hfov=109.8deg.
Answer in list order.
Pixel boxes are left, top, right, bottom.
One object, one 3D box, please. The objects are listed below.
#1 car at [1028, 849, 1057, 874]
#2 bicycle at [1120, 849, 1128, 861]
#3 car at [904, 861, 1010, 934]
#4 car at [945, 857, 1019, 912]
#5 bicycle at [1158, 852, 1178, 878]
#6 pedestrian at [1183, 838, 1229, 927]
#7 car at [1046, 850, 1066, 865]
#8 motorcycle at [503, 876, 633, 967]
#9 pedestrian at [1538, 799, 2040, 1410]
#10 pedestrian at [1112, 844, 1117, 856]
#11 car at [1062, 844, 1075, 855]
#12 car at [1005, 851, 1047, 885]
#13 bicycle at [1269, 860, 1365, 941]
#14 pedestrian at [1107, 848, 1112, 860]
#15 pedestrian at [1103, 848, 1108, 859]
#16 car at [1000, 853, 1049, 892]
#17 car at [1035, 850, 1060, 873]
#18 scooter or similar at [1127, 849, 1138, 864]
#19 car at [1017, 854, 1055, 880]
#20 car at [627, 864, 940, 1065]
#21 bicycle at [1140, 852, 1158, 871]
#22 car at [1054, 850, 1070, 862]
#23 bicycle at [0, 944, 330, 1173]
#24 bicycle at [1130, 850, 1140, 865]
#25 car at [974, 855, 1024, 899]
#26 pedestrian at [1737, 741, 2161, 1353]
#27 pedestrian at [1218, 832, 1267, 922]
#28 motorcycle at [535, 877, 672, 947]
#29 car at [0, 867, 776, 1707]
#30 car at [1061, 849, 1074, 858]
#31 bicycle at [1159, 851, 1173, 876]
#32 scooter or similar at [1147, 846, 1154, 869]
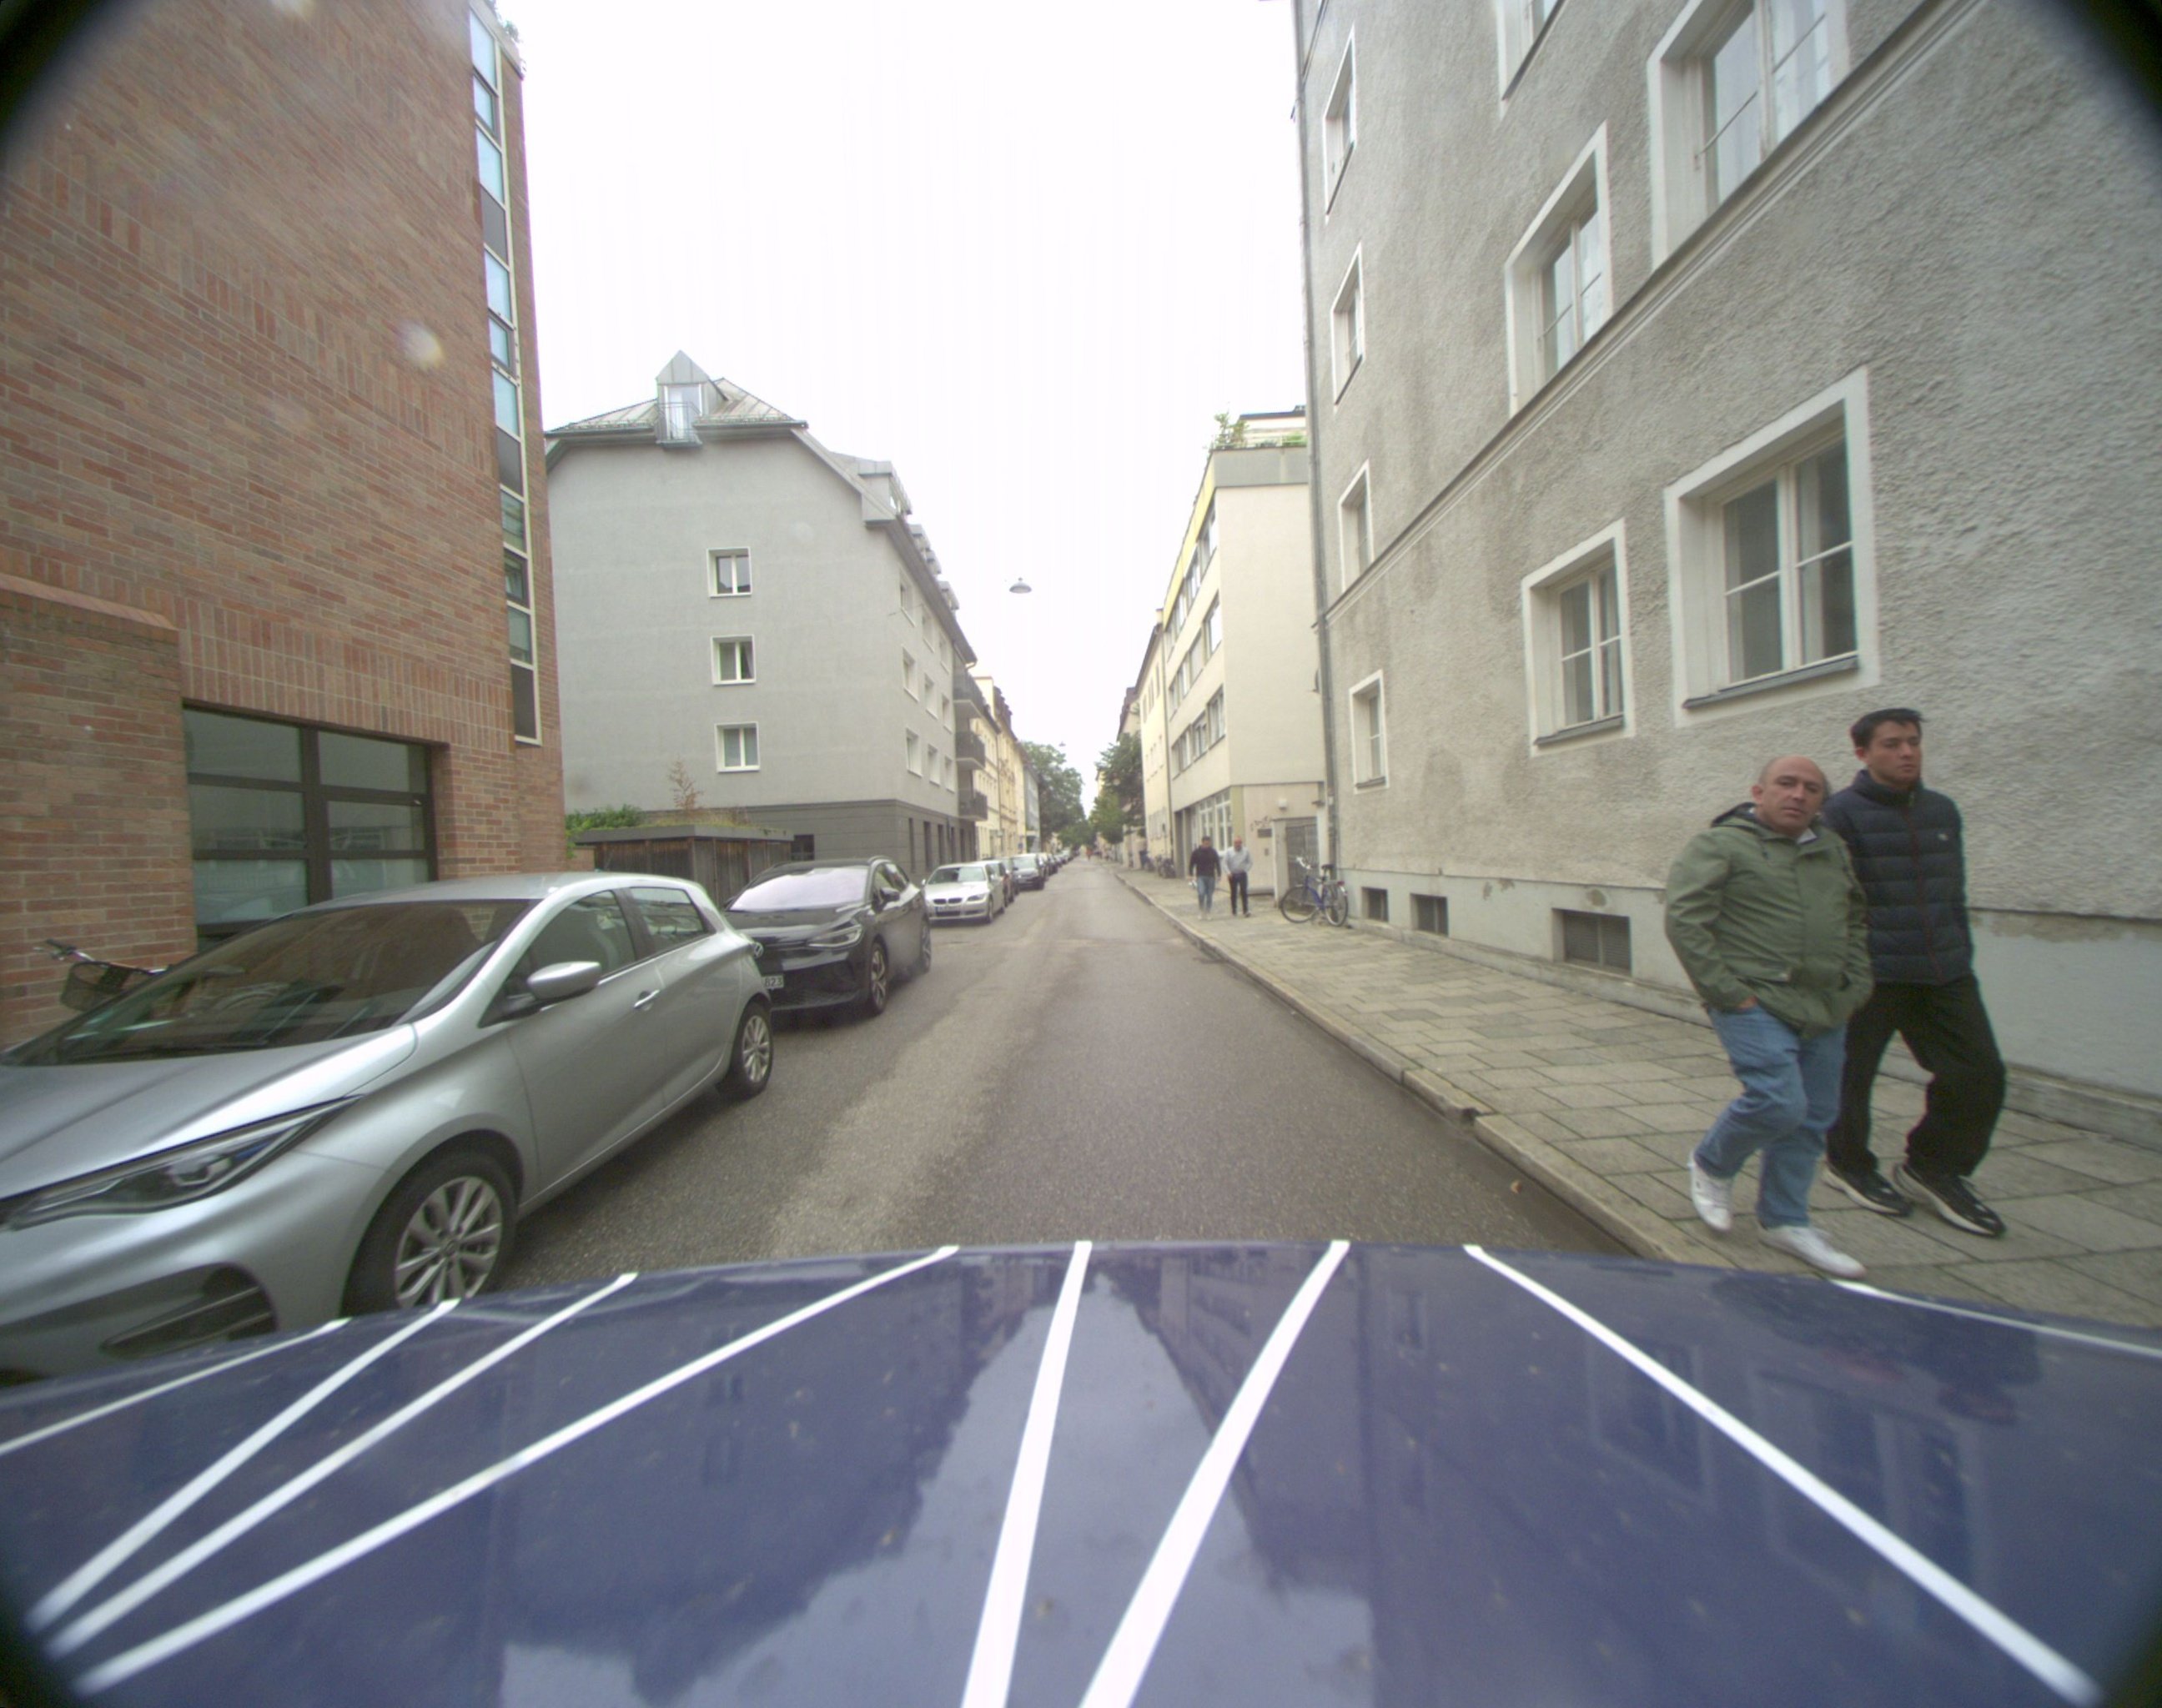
[{"bbox_3d":[-2.657,0.494,53.279,1.680,1.651,4.512,-3,0,0],"label":"car"},{"bbox_3d":[4.183,0.124,74.352,0.539,1.132,1.916,-4,1,0],"label":"bicycle"},{"bbox_3d":[-2.930,0.975,18.942,1.841,1.409,4.600,-3,1,-1],"label":"car"},{"bbox_3d":[-3.015,0.889,23.955,1.750,1.453,4.149,-3,1,-1],"label":"car"},{"bbox_3d":[4.084,0.508,35.789,0.563,1.153,1.720,-3,1,-5],"label":"bicycle"},{"bbox_3d":[2.583,0.573,15.796,0.720,1.755,0.838,-4,1,1],"label":"pedestrian"},{"bbox_3d":[-2.578,0.371,79.954,1.830,1.327,4.508,-6,0,0],"label":"car"},{"bbox_3d":[-8.664,1.090,12.945,0.541,1.337,1.942,-1,1,12],"label":"motorcycle"},{"bbox_3d":[2.235,0.695,2.552,0.755,1.649,0.906,-5,1,1],"label":"pedestrian"},{"bbox_3d":[4.592,-0.521,104.598,0.615,1.612,0.687,-5,1,1],"label":"pedestrian"},{"bbox_3d":[-2.126,-0.802,131.962,1.998,1.677,4.510,-2,1,1],"label":"car"},{"bbox_3d":[-2.720,0.643,38.588,1.880,1.561,4.315,-1,1,-1],"label":"car"},{"bbox_3d":[3.871,0.723,12.614,0.644,1.210,1.662,-2,1,-18],"label":"bicycle"},{"bbox_3d":[3.940,-0.008,104.535,0.624,1.570,0.714,-4,1,0],"label":"pedestrian"},{"bbox_3d":[4.075,-0.087,127.260,0.766,1.742,0.970,-2,1,0],"label":"pedestrian"},{"bbox_3d":[-2.451,0.768,33.928,1.844,1.520,4.292,-3,1,-1],"label":"car"},{"bbox_3d":[-2.563,0.568,59.052,1.706,1.598,4.684,-3,0,0],"label":"car"},{"bbox_3d":[4.256,0.222,62.775,0.553,1.137,1.359,-5,1,17],"label":"scooter or similar"},{"bbox_3d":[-2.552,0.710,43.798,1.812,1.355,3.945,-2,1,1],"label":"car"},{"bbox_3d":[-2.962,0.982,8.754,1.890,1.546,4.390,-3,1,-2],"label":"car"},{"bbox_3d":[4.100,0.437,45.647,0.705,0.978,1.822,-7,1,-4],"label":"bicycle"},{"bbox_3d":[-2.385,0.236,97.341,1.846,1.420,4.263,-6,0,-1],"label":"car"},{"bbox_3d":[-5.962,1.233,4.966,0.561,1.073,1.471,-3,1,1],"label":"bicycle"},{"bbox_3d":[4.287,0.240,60.710,0.545,1.154,1.882,-4,1,-1],"label":"bicycle"},{"bbox_3d":[-3.076,0.833,28.995,1.525,1.503,3.201,-3,1,-1],"label":"car"},{"bbox_3d":[2.915,0.542,2.553,0.614,1.704,0.823,-5,1,0],"label":"pedestrian"},{"bbox_3d":[3.386,0.464,15.953,0.720,1.786,0.916,-4,1,1],"label":"pedestrian"},{"bbox_3d":[-9.793,1.184,15.607,2.520,1.336,0.551,-2,2,6],"label":"motorcycle"},{"bbox_3d":[-2.988,0.962,3.443,1.726,1.626,3.879,-2,1,-3],"label":"car"},{"bbox_3d":[-2.174,-0.073,126.798,1.998,1.306,4.593,-2,0,1],"label":"car"},{"bbox_3d":[4.177,0.475,37.503,0.459,1.153,1.605,-5,1,2],"label":"bicycle"},{"bbox_3d":[4.337,0.215,47.373,0.318,1.368,1.239,-2,1,0],"label":"scooter or similar"}]
